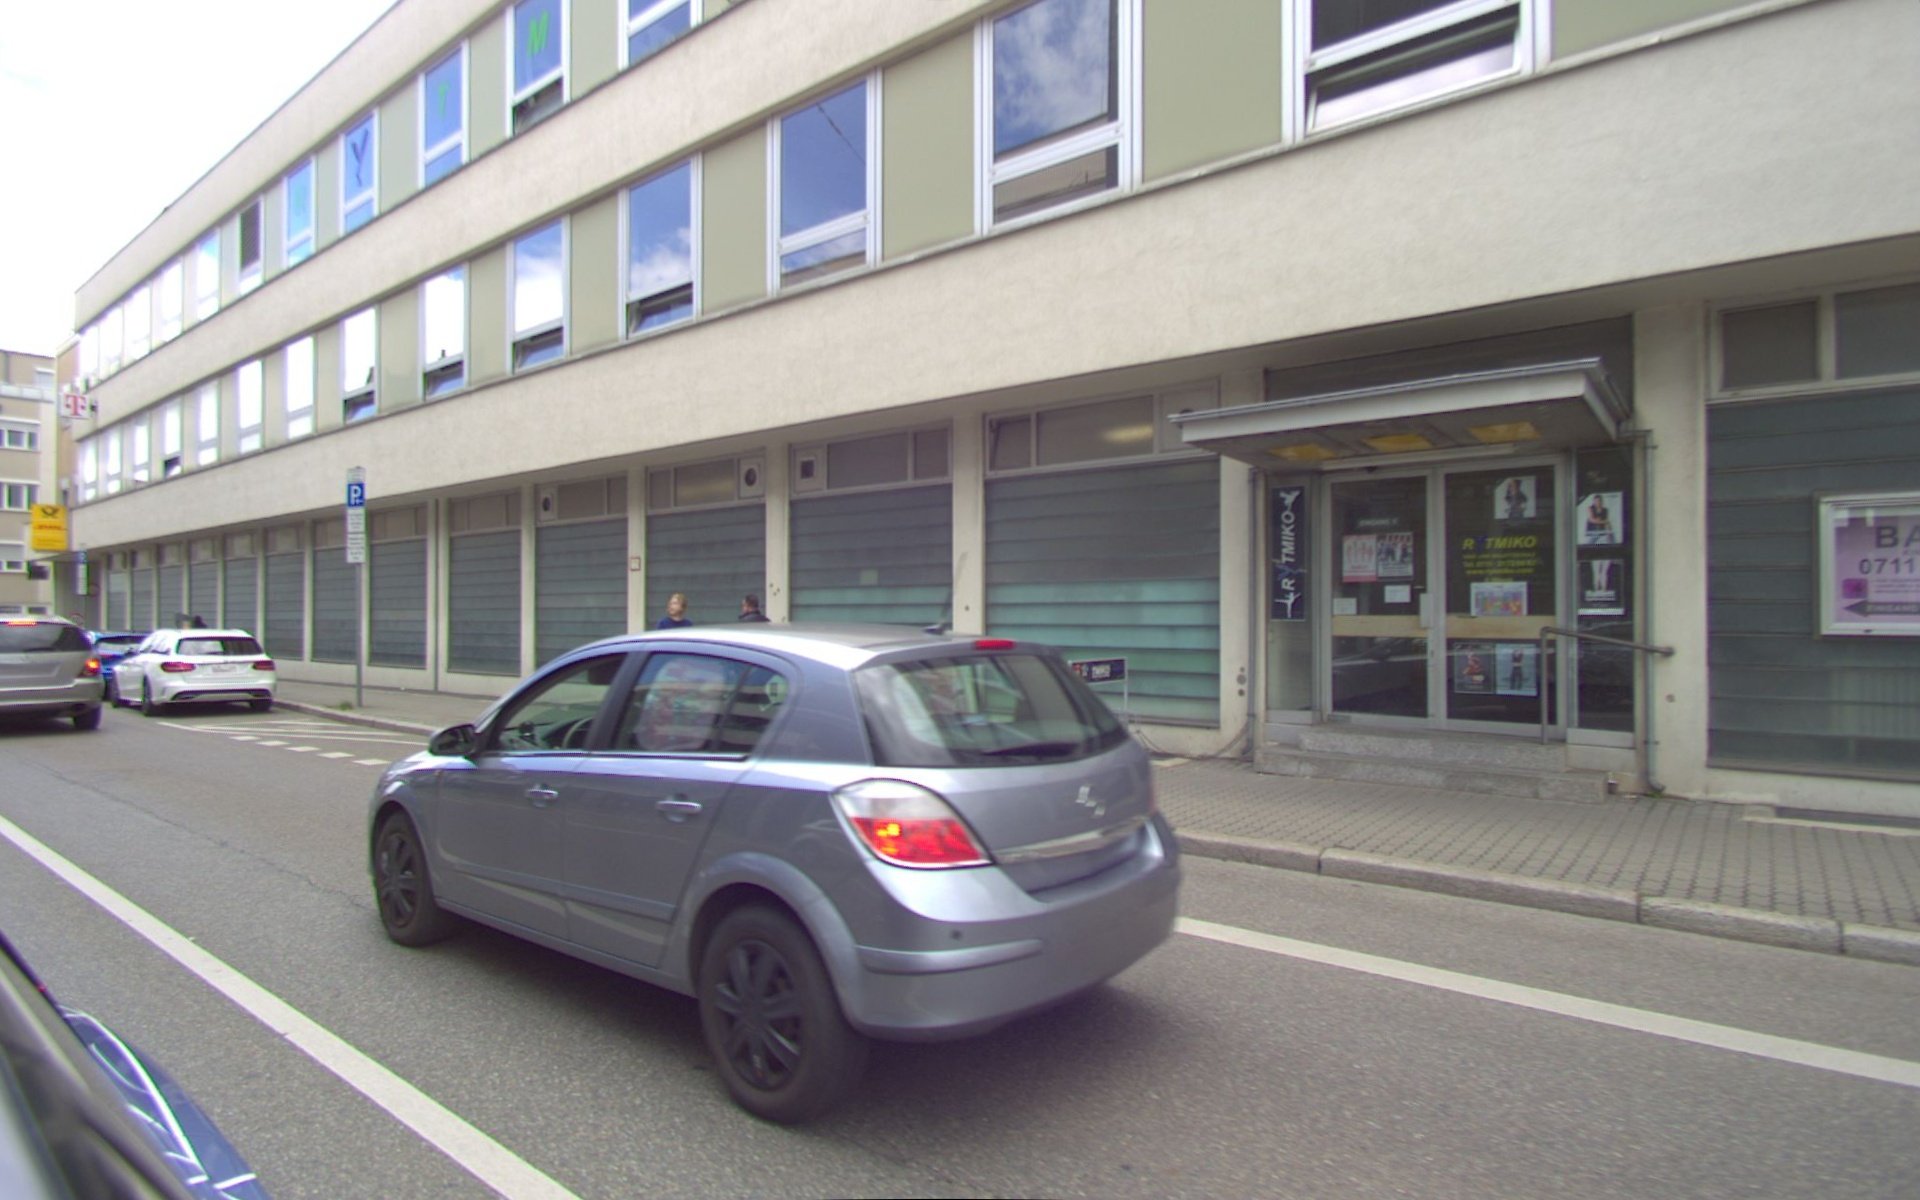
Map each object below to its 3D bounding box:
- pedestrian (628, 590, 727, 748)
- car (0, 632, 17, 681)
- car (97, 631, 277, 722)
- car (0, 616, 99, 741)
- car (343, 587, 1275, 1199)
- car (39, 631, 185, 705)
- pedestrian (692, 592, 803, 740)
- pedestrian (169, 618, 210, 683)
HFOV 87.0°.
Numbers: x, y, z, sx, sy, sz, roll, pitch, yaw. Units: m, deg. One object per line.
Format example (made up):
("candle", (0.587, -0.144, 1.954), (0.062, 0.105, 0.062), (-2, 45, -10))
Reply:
("pedestrian", (-3.265, 0.769, 11.670), (1.053, 1.731, 0.584), (-1, -2, 37))
("car", (-29.837, 1.654, 29.657), (4.426, 1.409, 1.644), (-1, -1, 24))
("car", (-14.020, 1.298, 18.248), (4.550, 1.445, 1.652), (-2, -3, 41))
("car", (-14.406, 1.089, 14.941), (4.763, 1.644, 1.758), (-2, -2, 40))
("car", (-0.907, 0.770, 4.208), (3.916, 1.477, 1.641), (-2, -2, 40))
("car", (-18.408, 1.416, 21.904), (4.262, 1.437, 1.796), (-2, -4, 42))
("pedestrian", (-2.628, 0.776, 12.519), (1.030, 1.731, 0.854), (-1, 0, 37))
("pedestrian", (-20.837, 1.366, 27.364), (0.642, 1.731, 0.590), (0, -2, 7))
